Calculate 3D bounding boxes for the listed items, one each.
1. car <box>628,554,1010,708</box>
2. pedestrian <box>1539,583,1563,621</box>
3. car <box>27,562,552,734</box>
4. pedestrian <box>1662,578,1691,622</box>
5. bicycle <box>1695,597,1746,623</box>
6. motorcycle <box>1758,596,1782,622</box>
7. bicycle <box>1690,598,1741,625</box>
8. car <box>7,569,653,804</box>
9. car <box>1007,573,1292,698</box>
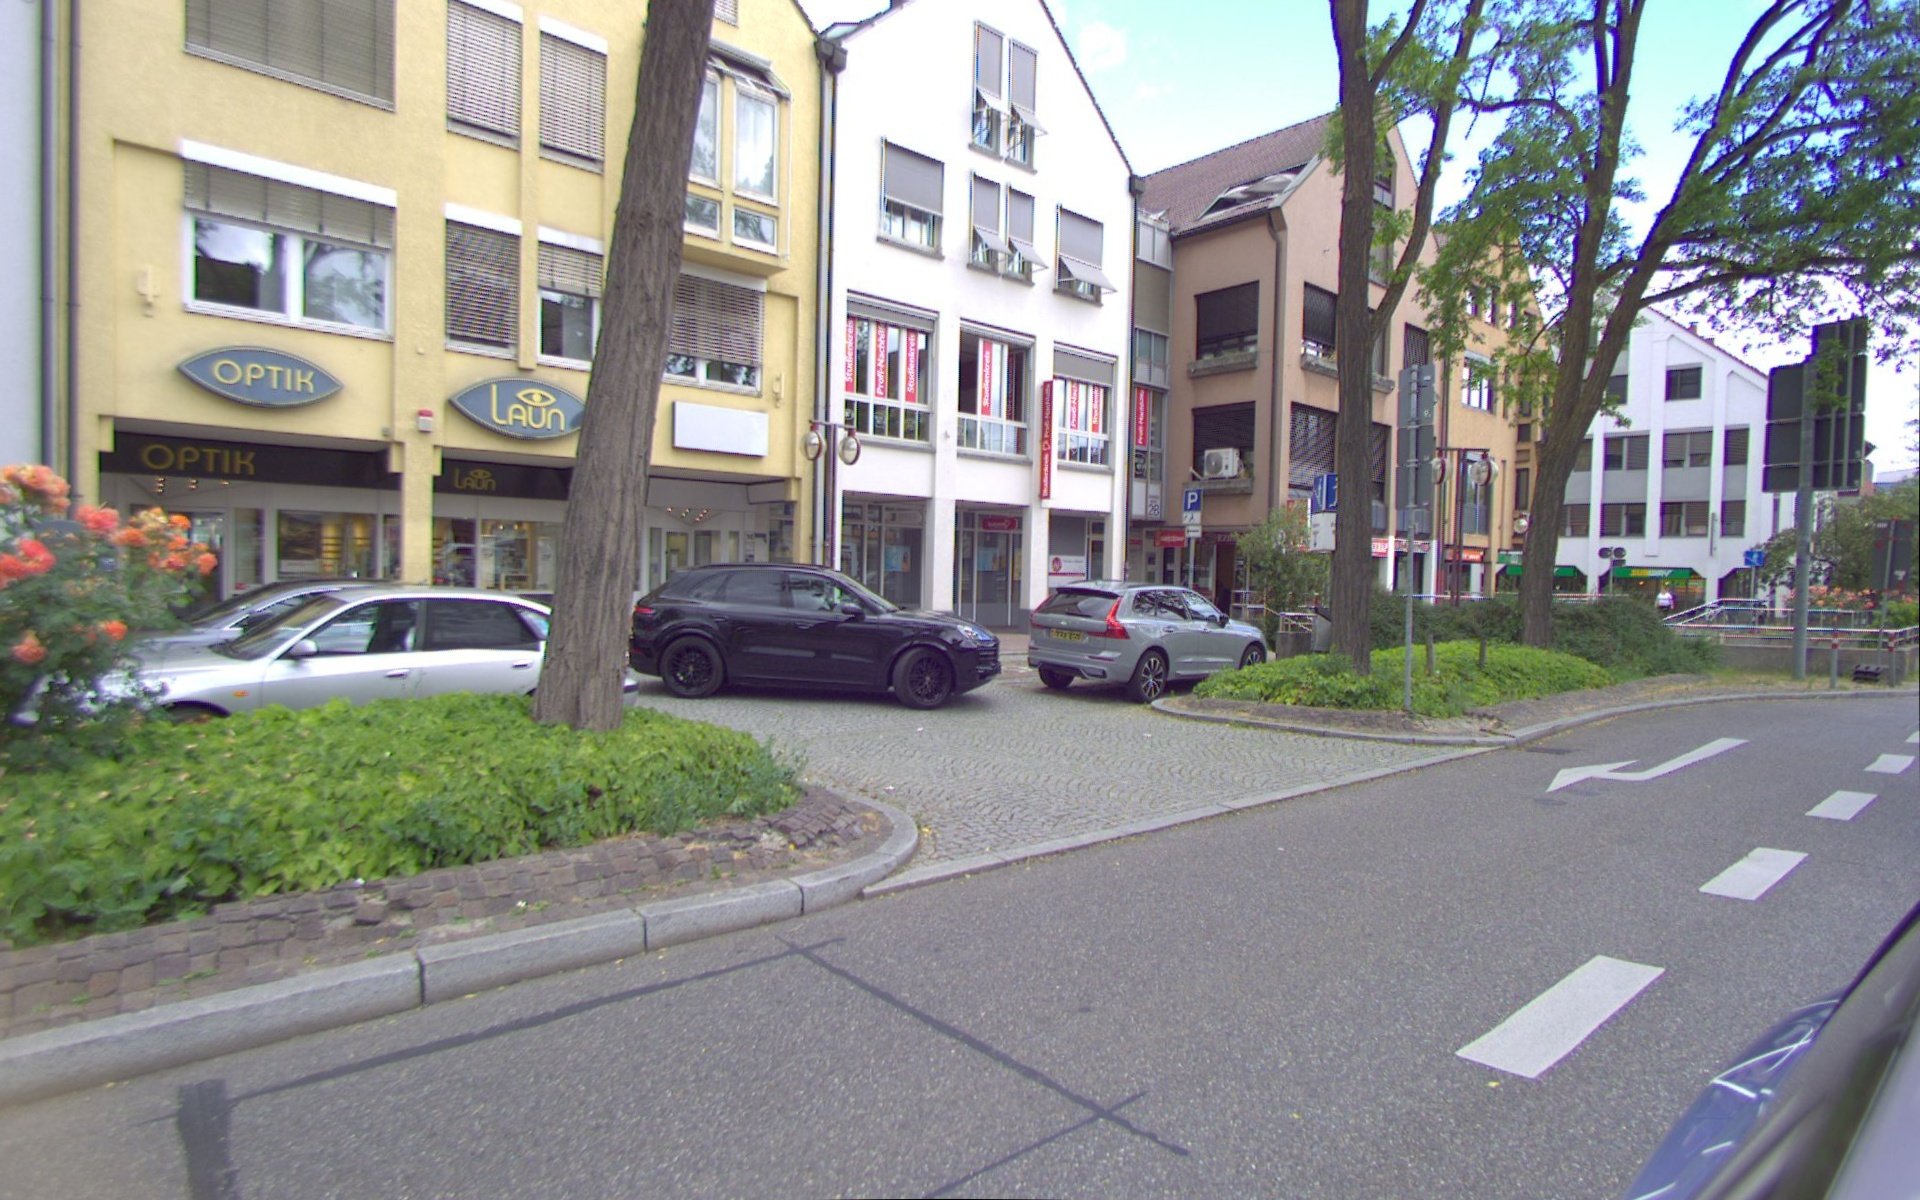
[{"bbox_3d":[-1.721,0.340,13.194,4.575,1.690,1.859,2,2,0],"label":"car"},{"bbox_3d":[28.626,0.083,49.028,0.882,1.779,0.931,2,1,38],"label":"pedestrian"},{"bbox_3d":[-6.888,0.371,10.698,4.344,1.393,2.000,0,3,-43],"label":"car"},{"bbox_3d":[30.737,-0.006,43.416,0.772,1.846,0.869,0,0,-45],"label":"pedestrian"},{"bbox_3d":[30.337,0.398,40.395,1.583,0.981,0.455,2,1,36],"label":"bicycle"},{"bbox_3d":[34.603,0.361,43.223,1.961,1.081,0.464,0,1,-41],"label":"motorcycle"},{"bbox_3d":[29.725,0.441,39.825,1.584,1.014,0.409,2,1,37],"label":"bicycle"},{"bbox_3d":[-5.033,0.526,8.549,4.344,1.468,1.765,0,2,-43],"label":"car"},{"bbox_3d":[3.070,0.445,15.742,4.685,1.615,1.996,0,2,-44],"label":"car"}]
